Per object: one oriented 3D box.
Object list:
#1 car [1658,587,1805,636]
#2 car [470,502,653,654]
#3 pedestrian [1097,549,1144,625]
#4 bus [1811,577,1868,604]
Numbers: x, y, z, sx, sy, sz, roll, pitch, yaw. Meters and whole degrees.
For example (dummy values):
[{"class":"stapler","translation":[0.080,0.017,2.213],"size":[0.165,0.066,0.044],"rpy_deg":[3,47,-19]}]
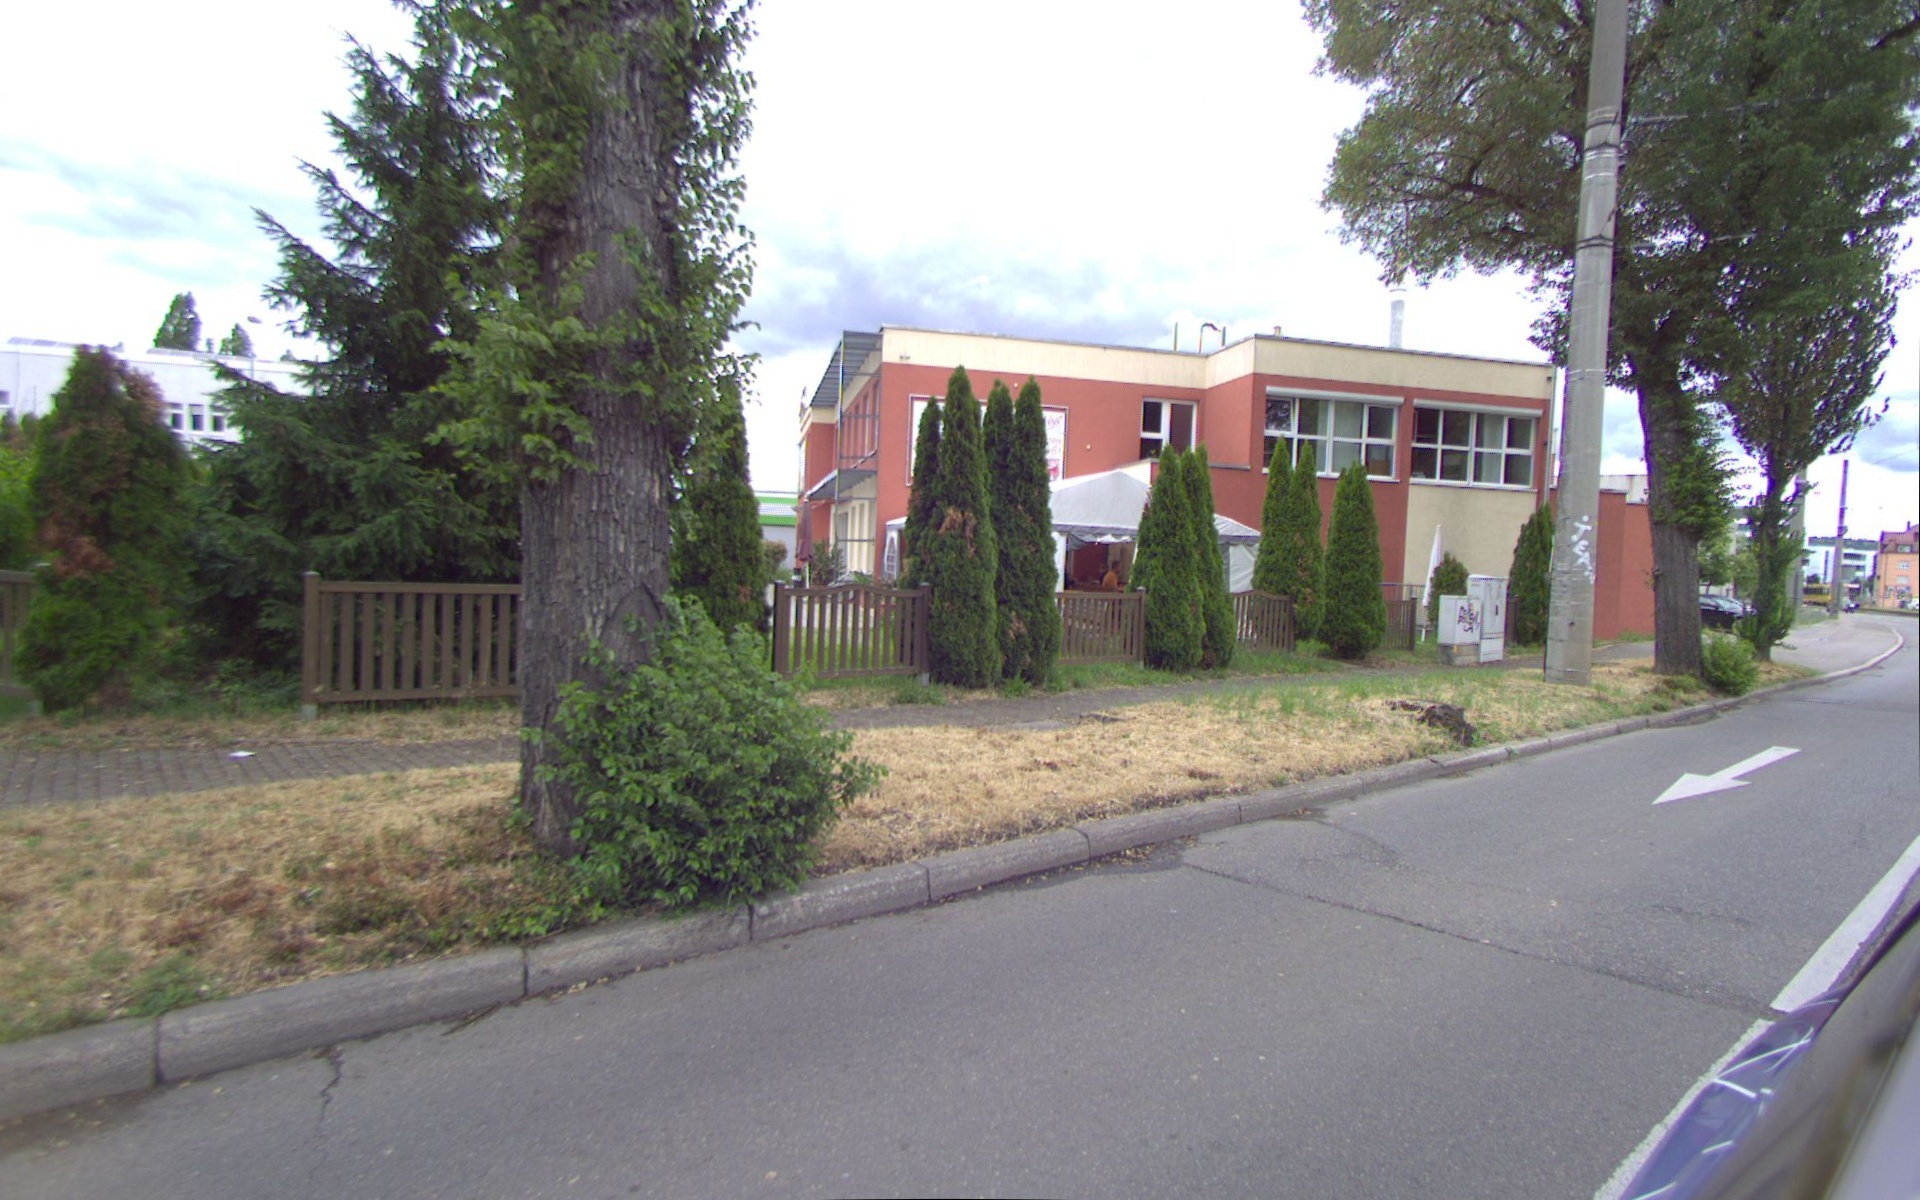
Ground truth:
[{"class":"car","translation":[30.129,0.407,39.696],"size":[1.726,1.460,4.247],"rpy_deg":[2,4,-19]},{"class":"car","translation":[-5.387,-0.336,13.952],"size":[1.958,1.727,4.387],"rpy_deg":[1,2,-20]},{"class":"pedestrian","translation":[3.297,-0.272,20.816],"size":[0.754,1.508,0.706],"rpy_deg":[2,2,-4]},{"class":"bus","translation":[141.426,-1.654,162.968],"size":[3.519,4.001,10.421],"rpy_deg":[1,3,21]}]
